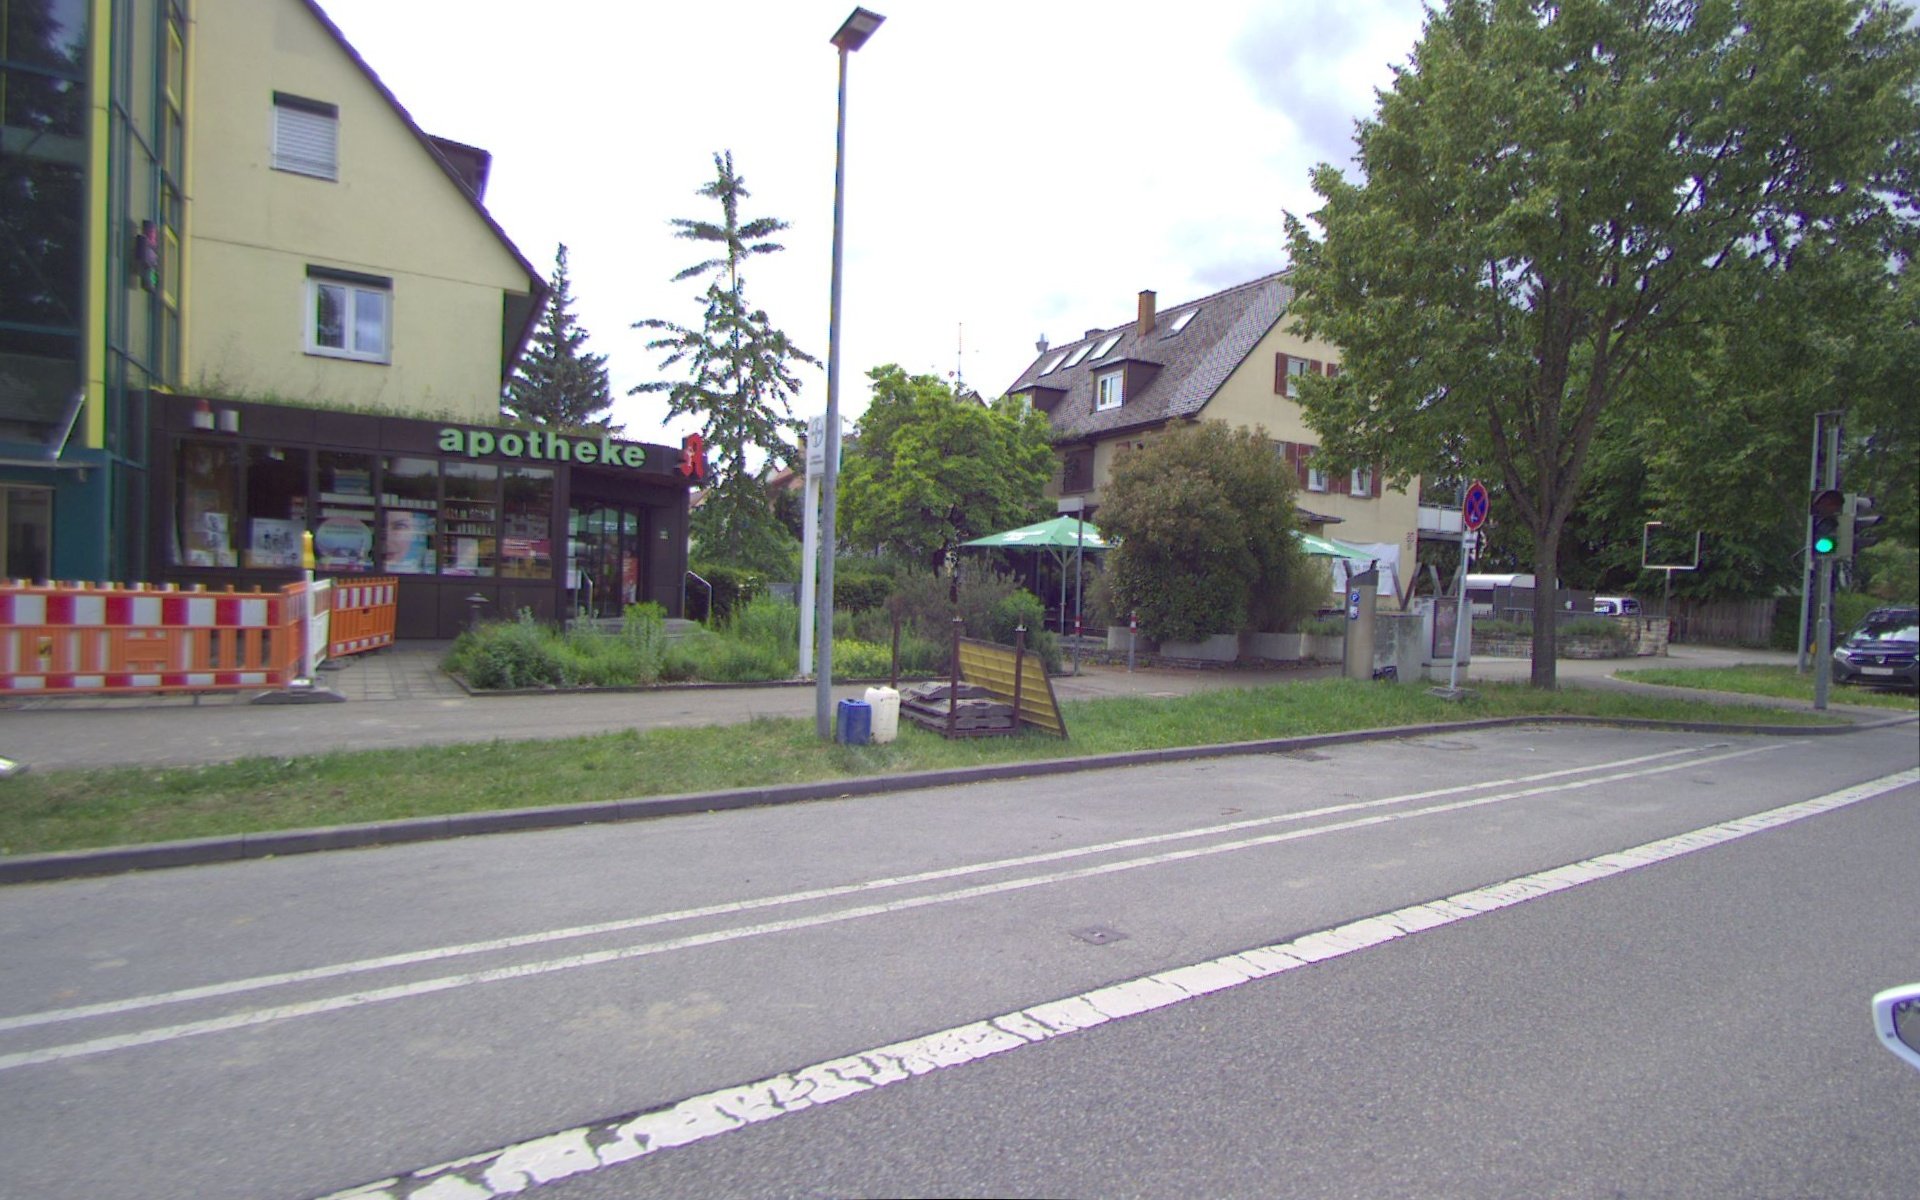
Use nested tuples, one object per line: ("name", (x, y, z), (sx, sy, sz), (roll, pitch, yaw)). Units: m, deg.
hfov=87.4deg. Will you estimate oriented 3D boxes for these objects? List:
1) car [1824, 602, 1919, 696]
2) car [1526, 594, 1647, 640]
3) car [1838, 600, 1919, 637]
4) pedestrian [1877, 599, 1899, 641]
("car", (19.664, 0.971, 20.889), (4.426, 1.795, 1.655), (1, 0, -37))
("car", (26.386, 0.699, 42.441), (1.725, 1.793, 3.969), (2, 0, -29))
("car", (53.027, 1.039, 57.697), (1.663, 1.952, 3.656), (1, 1, -36))
("pedestrian", (39.756, 0.846, 43.027), (0.569, 1.765, 0.591), (1, 1, -37))
